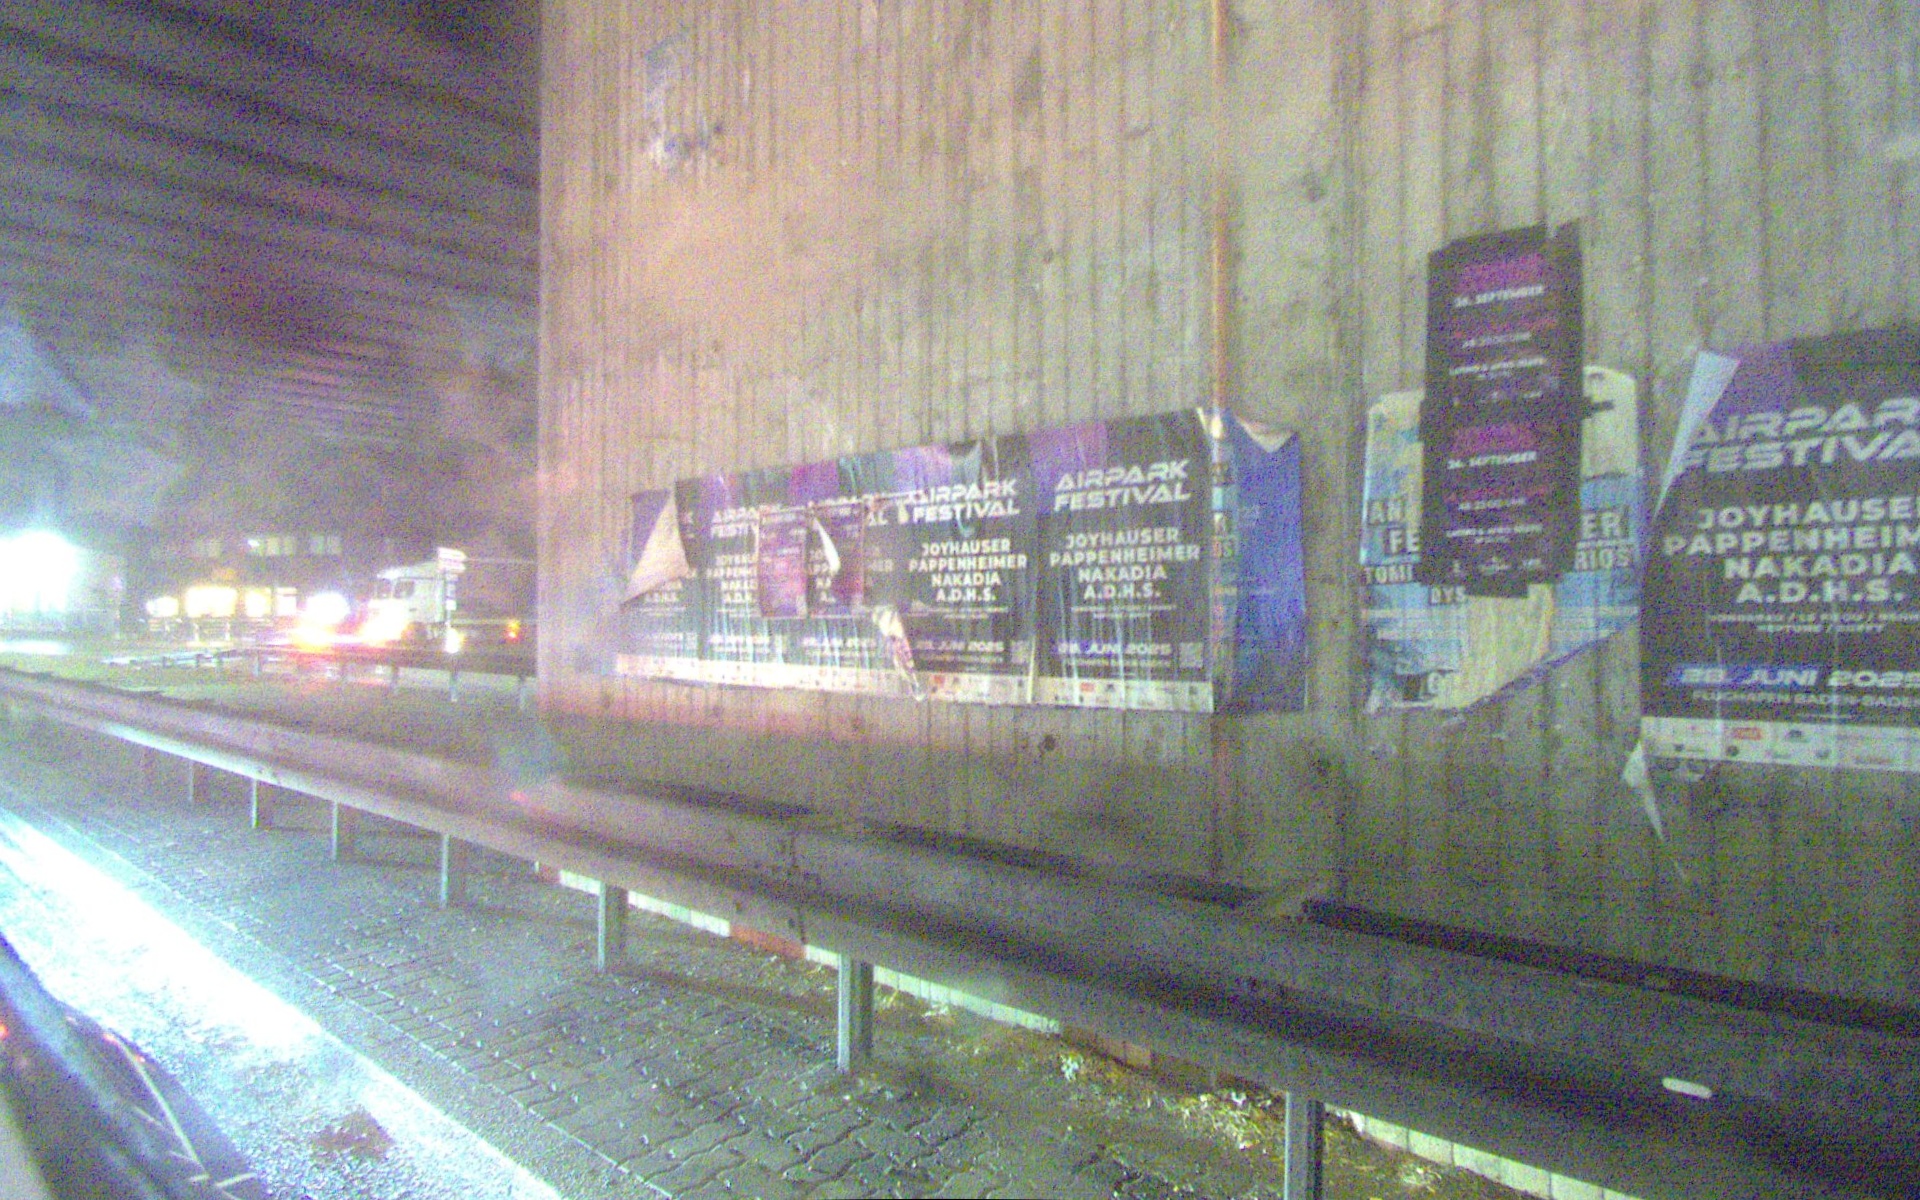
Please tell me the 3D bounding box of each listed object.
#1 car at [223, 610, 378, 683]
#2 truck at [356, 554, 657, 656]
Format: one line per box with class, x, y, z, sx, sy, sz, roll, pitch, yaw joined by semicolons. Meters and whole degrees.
car;-16.866;1.148;25.835;4.488;1.722;1.735;0;-2;35
truck;-21.930;0.235;50.168;13.480;4.474;2.746;0;-1;-43
